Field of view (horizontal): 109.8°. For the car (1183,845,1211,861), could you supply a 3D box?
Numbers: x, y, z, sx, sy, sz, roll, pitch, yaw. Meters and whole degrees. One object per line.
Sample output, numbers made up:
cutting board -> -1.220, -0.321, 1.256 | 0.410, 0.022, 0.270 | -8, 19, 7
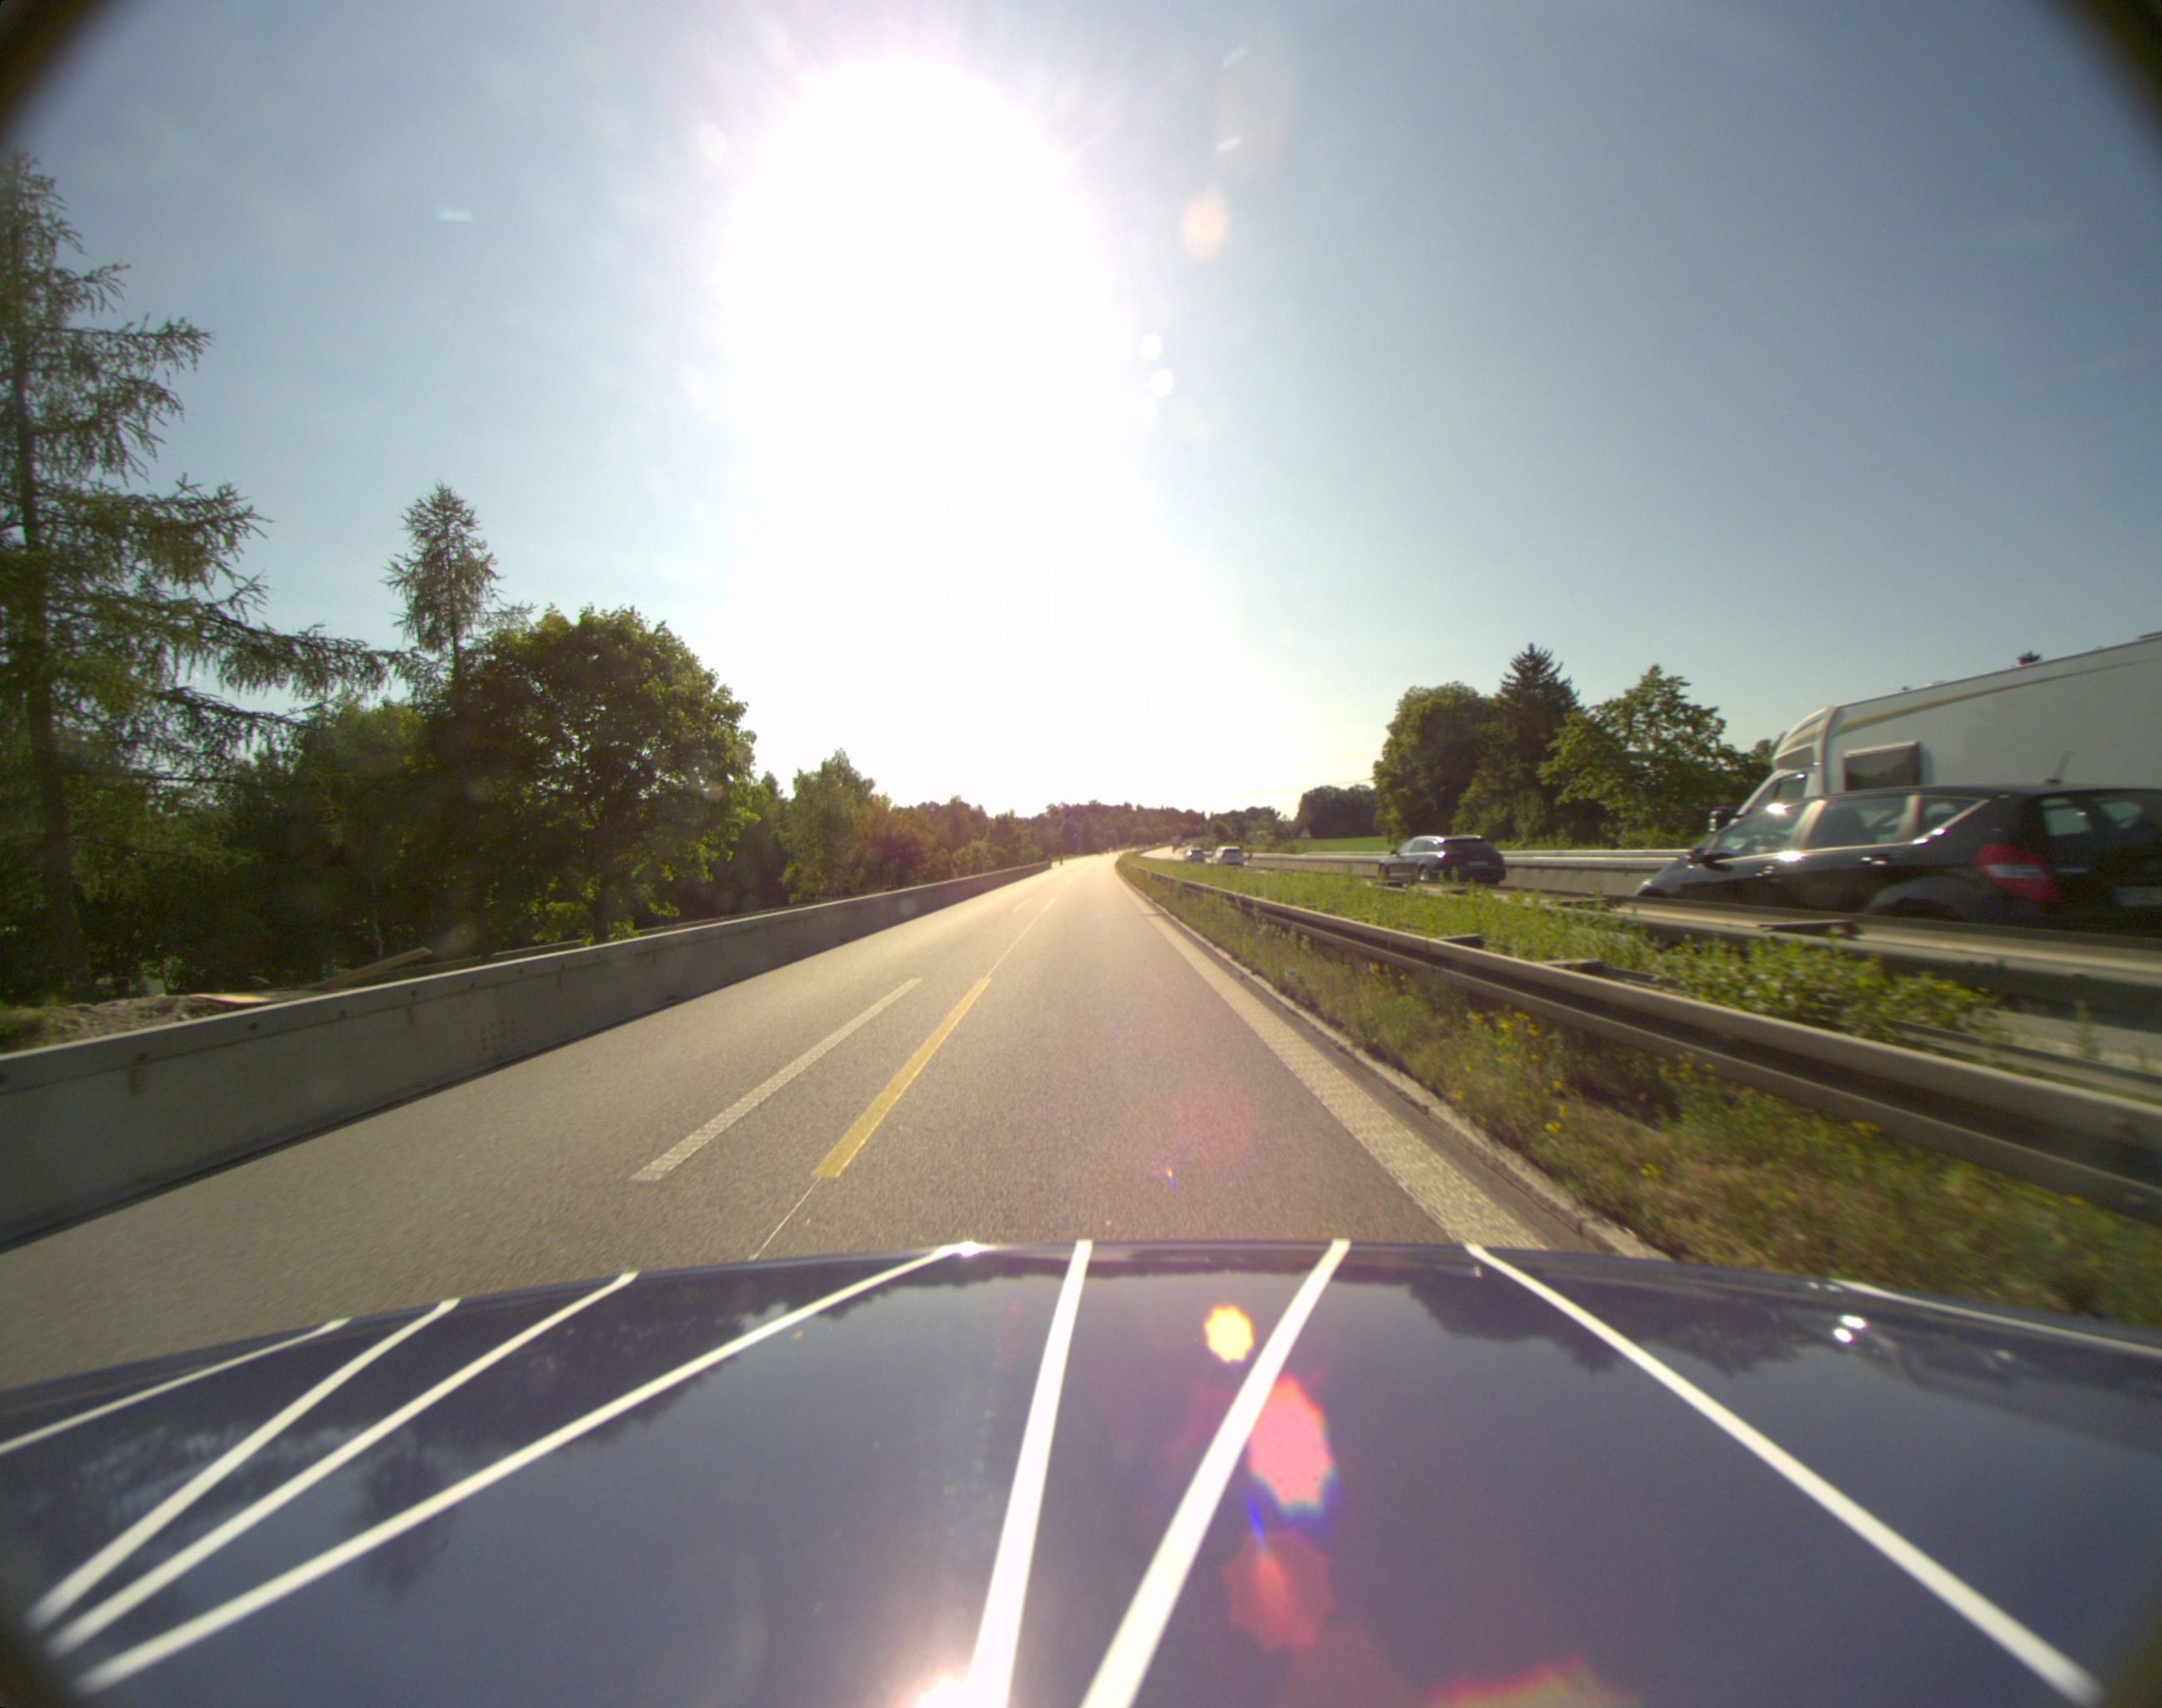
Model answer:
car -> 11.189, -0.087, 73.615 | 1.888, 1.424, 4.983 | -3, 0, 1

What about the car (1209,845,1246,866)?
car -> 10.451, 0.122, 54.437 | 1.705, 1.424, 4.955 | -1, 0, 1

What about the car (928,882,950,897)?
car -> -17.722, 4.412, 95.249 | 1.768, 1.644, 3.882 | -3, 0, 3

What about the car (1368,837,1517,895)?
car -> 9.865, 0.288, 21.301 | 1.745, 1.424, 5.235 | 0, 0, 1

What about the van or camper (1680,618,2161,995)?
van or camper -> 9.638, -0.418, 6.936 | 2.412, 2.933, 7.522 | -3, 0, 1

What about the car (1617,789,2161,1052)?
car -> 6.775, 0.372, 6.408 | 1.746, 1.521, 4.000 | -1, 0, 1
